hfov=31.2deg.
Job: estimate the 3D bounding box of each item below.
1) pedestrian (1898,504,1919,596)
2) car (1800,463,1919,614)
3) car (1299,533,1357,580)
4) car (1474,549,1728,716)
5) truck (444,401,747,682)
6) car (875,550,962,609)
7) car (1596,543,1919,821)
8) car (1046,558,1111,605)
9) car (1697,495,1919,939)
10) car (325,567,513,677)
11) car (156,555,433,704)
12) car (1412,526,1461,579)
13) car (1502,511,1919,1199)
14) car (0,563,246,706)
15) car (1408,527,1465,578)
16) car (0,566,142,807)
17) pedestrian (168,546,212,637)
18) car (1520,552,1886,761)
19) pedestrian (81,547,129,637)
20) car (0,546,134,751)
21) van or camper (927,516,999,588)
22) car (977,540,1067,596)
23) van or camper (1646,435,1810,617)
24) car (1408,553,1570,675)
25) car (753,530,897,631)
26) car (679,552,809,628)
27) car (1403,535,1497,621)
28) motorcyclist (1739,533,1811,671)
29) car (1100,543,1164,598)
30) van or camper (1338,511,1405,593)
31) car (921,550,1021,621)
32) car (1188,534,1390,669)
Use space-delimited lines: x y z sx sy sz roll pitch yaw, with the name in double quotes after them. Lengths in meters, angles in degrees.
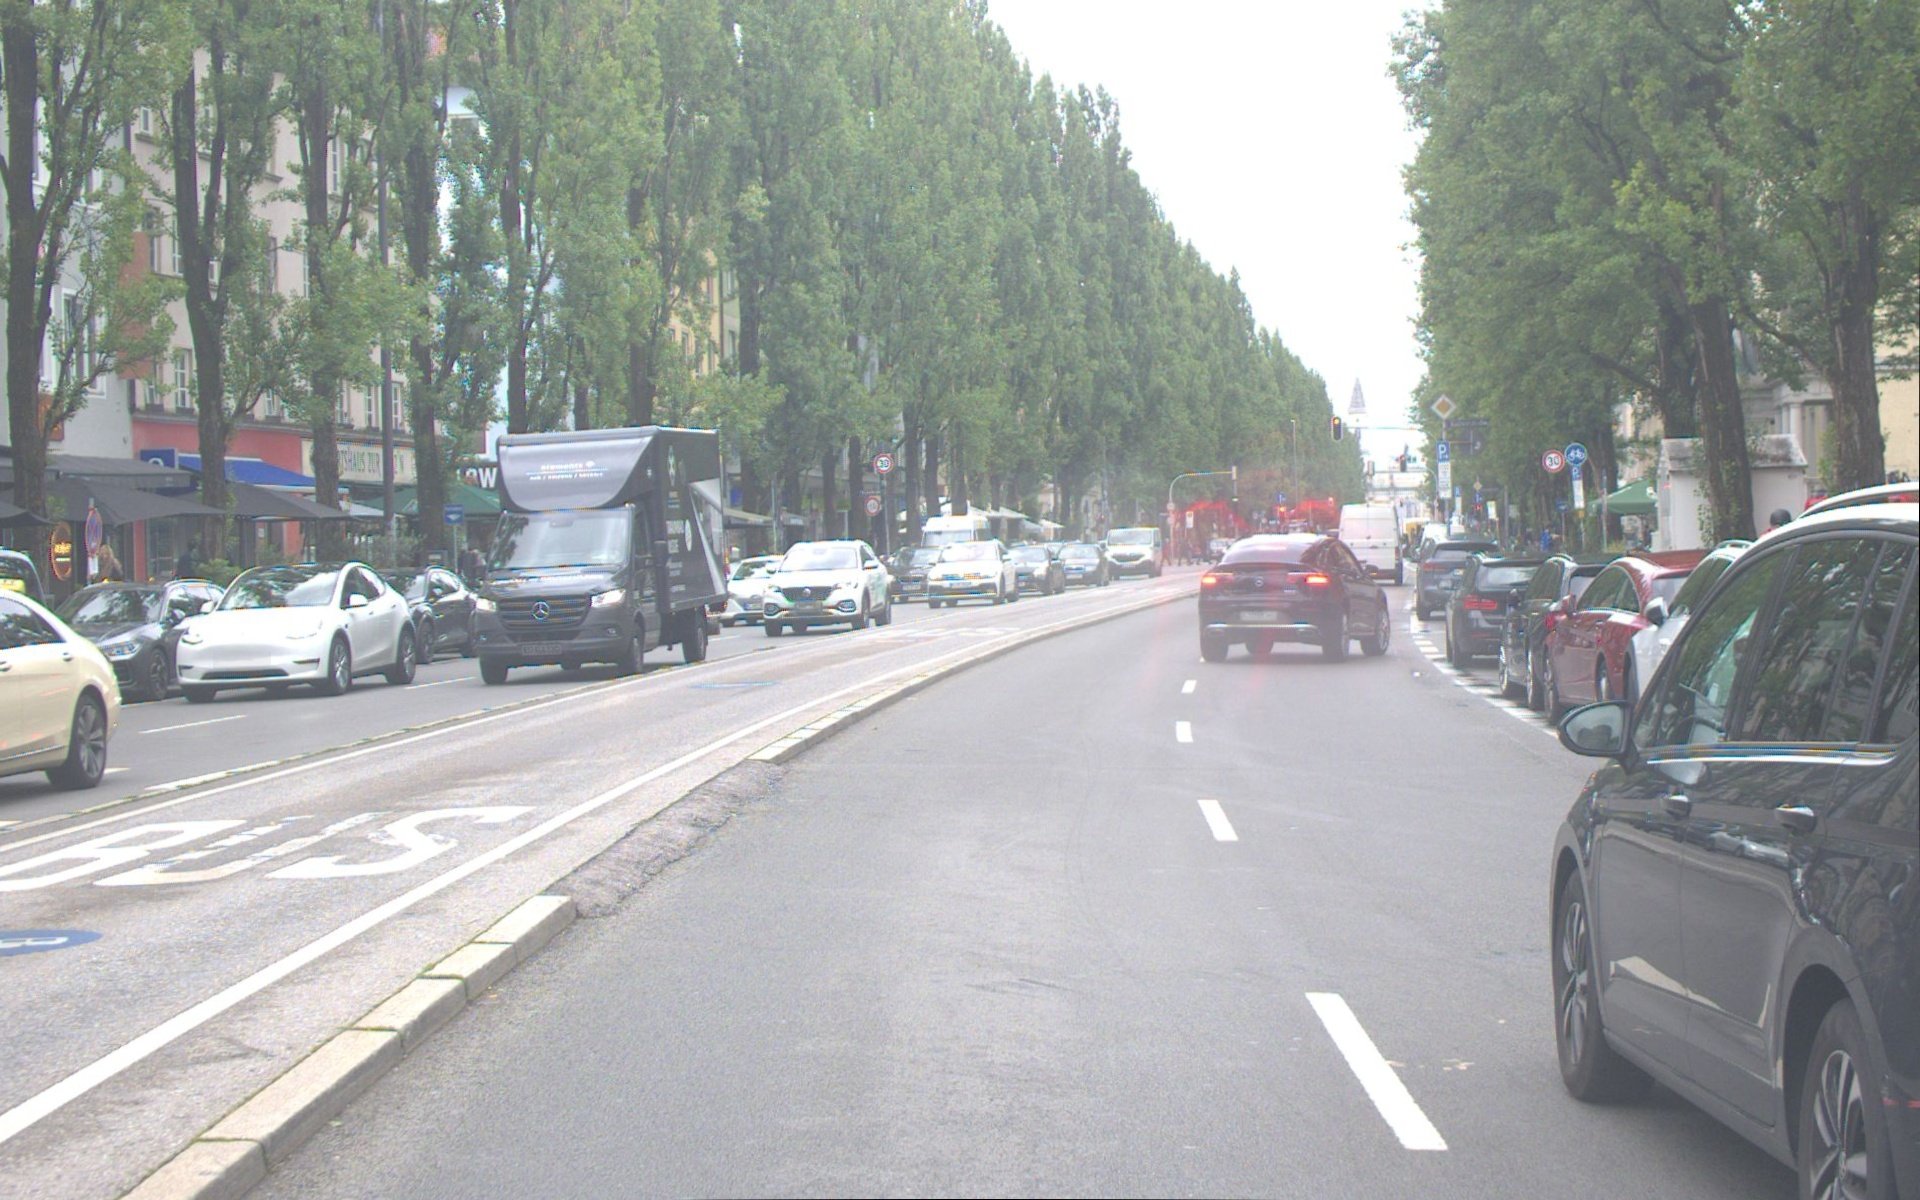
16.967 -0.890 60.732 0.673 1.607 0.640 -1 1 10 "pedestrian"
15.022 -1.028 56.419 1.903 2.320 4.820 -2 1 19 "car"
14.285 -1.709 133.283 1.994 1.711 3.999 -2 1 9 "car"
5.972 0.257 32.499 1.847 1.423 4.425 -1 1 4 "car"
-4.635 -0.775 45.147 2.292 3.311 7.155 -2 1 7 "truck"
-1.144 -0.573 96.576 1.849 1.559 4.211 -2 0 7 "car"
5.249 0.421 21.657 1.810 1.495 4.805 -2 1 3 "car"
3.753 -0.594 108.649 1.712 1.409 3.722 -1 1 7 "car"
4.640 0.440 15.371 1.925 1.694 4.649 0 0 3 "car"
-8.736 0.325 55.872 1.863 1.624 4.167 -2 1 8 "car"
-8.196 0.318 42.773 1.994 1.645 4.635 -2 1 7 "car"
18.177 -1.786 131.260 1.805 1.985 3.999 0 0 7 "car"
2.467 0.622 7.707 1.761 1.608 4.184 0 1 -1 "car"
-10.590 0.400 43.185 1.863 1.624 4.167 -2 1 8 "car"
15.785 -1.580 114.021 1.805 1.590 3.999 -1 1 7 "car"
-7.405 0.633 23.402 1.994 1.583 5.195 -3 1 5 "car"
-15.928 -0.176 71.129 0.638 1.855 0.648 -1 1 7 "pedestrian"
5.726 0.373 27.091 1.930 1.445 4.804 -1 1 2 "car"
-16.245 -0.155 65.334 0.638 1.694 0.648 -1 1 7 "pedestrian"
-9.707 0.483 32.039 1.994 1.857 5.710 -3 1 7 "car"
0.127 -1.707 121.510 1.994 2.450 4.250 -1 1 7 "van or camper"
1.782 -0.926 97.199 1.994 1.427 4.771 -2 1 7 "car"
13.892 -1.333 62.427 2.461 3.101 4.714 -2 1 8 "van or camper"
6.623 0.138 43.407 1.733 1.389 4.432 -2 1 6 "car"
-2.419 -0.392 62.893 1.861 1.705 4.535 -2 1 7 "car"
-4.554 -0.229 73.117 1.940 1.488 4.456 -2 1 7 "car"
9.359 -0.450 65.889 1.624 1.560 4.370 -1 1 7 "car"
8.478 0.010 35.781 0.564 1.401 0.766 -2 1 4 "motorcyclist"
6.573 -1.116 131.018 1.994 1.927 4.917 -3 0 7 "car"
12.933 -1.486 107.963 2.035 2.467 3.999 -1 -1 7 "van or camper"
0.306 -0.378 85.569 1.940 1.636 4.463 -2 1 7 "car"
4.412 -0.015 45.512 1.882 1.636 4.580 -1 1 15 "car"
